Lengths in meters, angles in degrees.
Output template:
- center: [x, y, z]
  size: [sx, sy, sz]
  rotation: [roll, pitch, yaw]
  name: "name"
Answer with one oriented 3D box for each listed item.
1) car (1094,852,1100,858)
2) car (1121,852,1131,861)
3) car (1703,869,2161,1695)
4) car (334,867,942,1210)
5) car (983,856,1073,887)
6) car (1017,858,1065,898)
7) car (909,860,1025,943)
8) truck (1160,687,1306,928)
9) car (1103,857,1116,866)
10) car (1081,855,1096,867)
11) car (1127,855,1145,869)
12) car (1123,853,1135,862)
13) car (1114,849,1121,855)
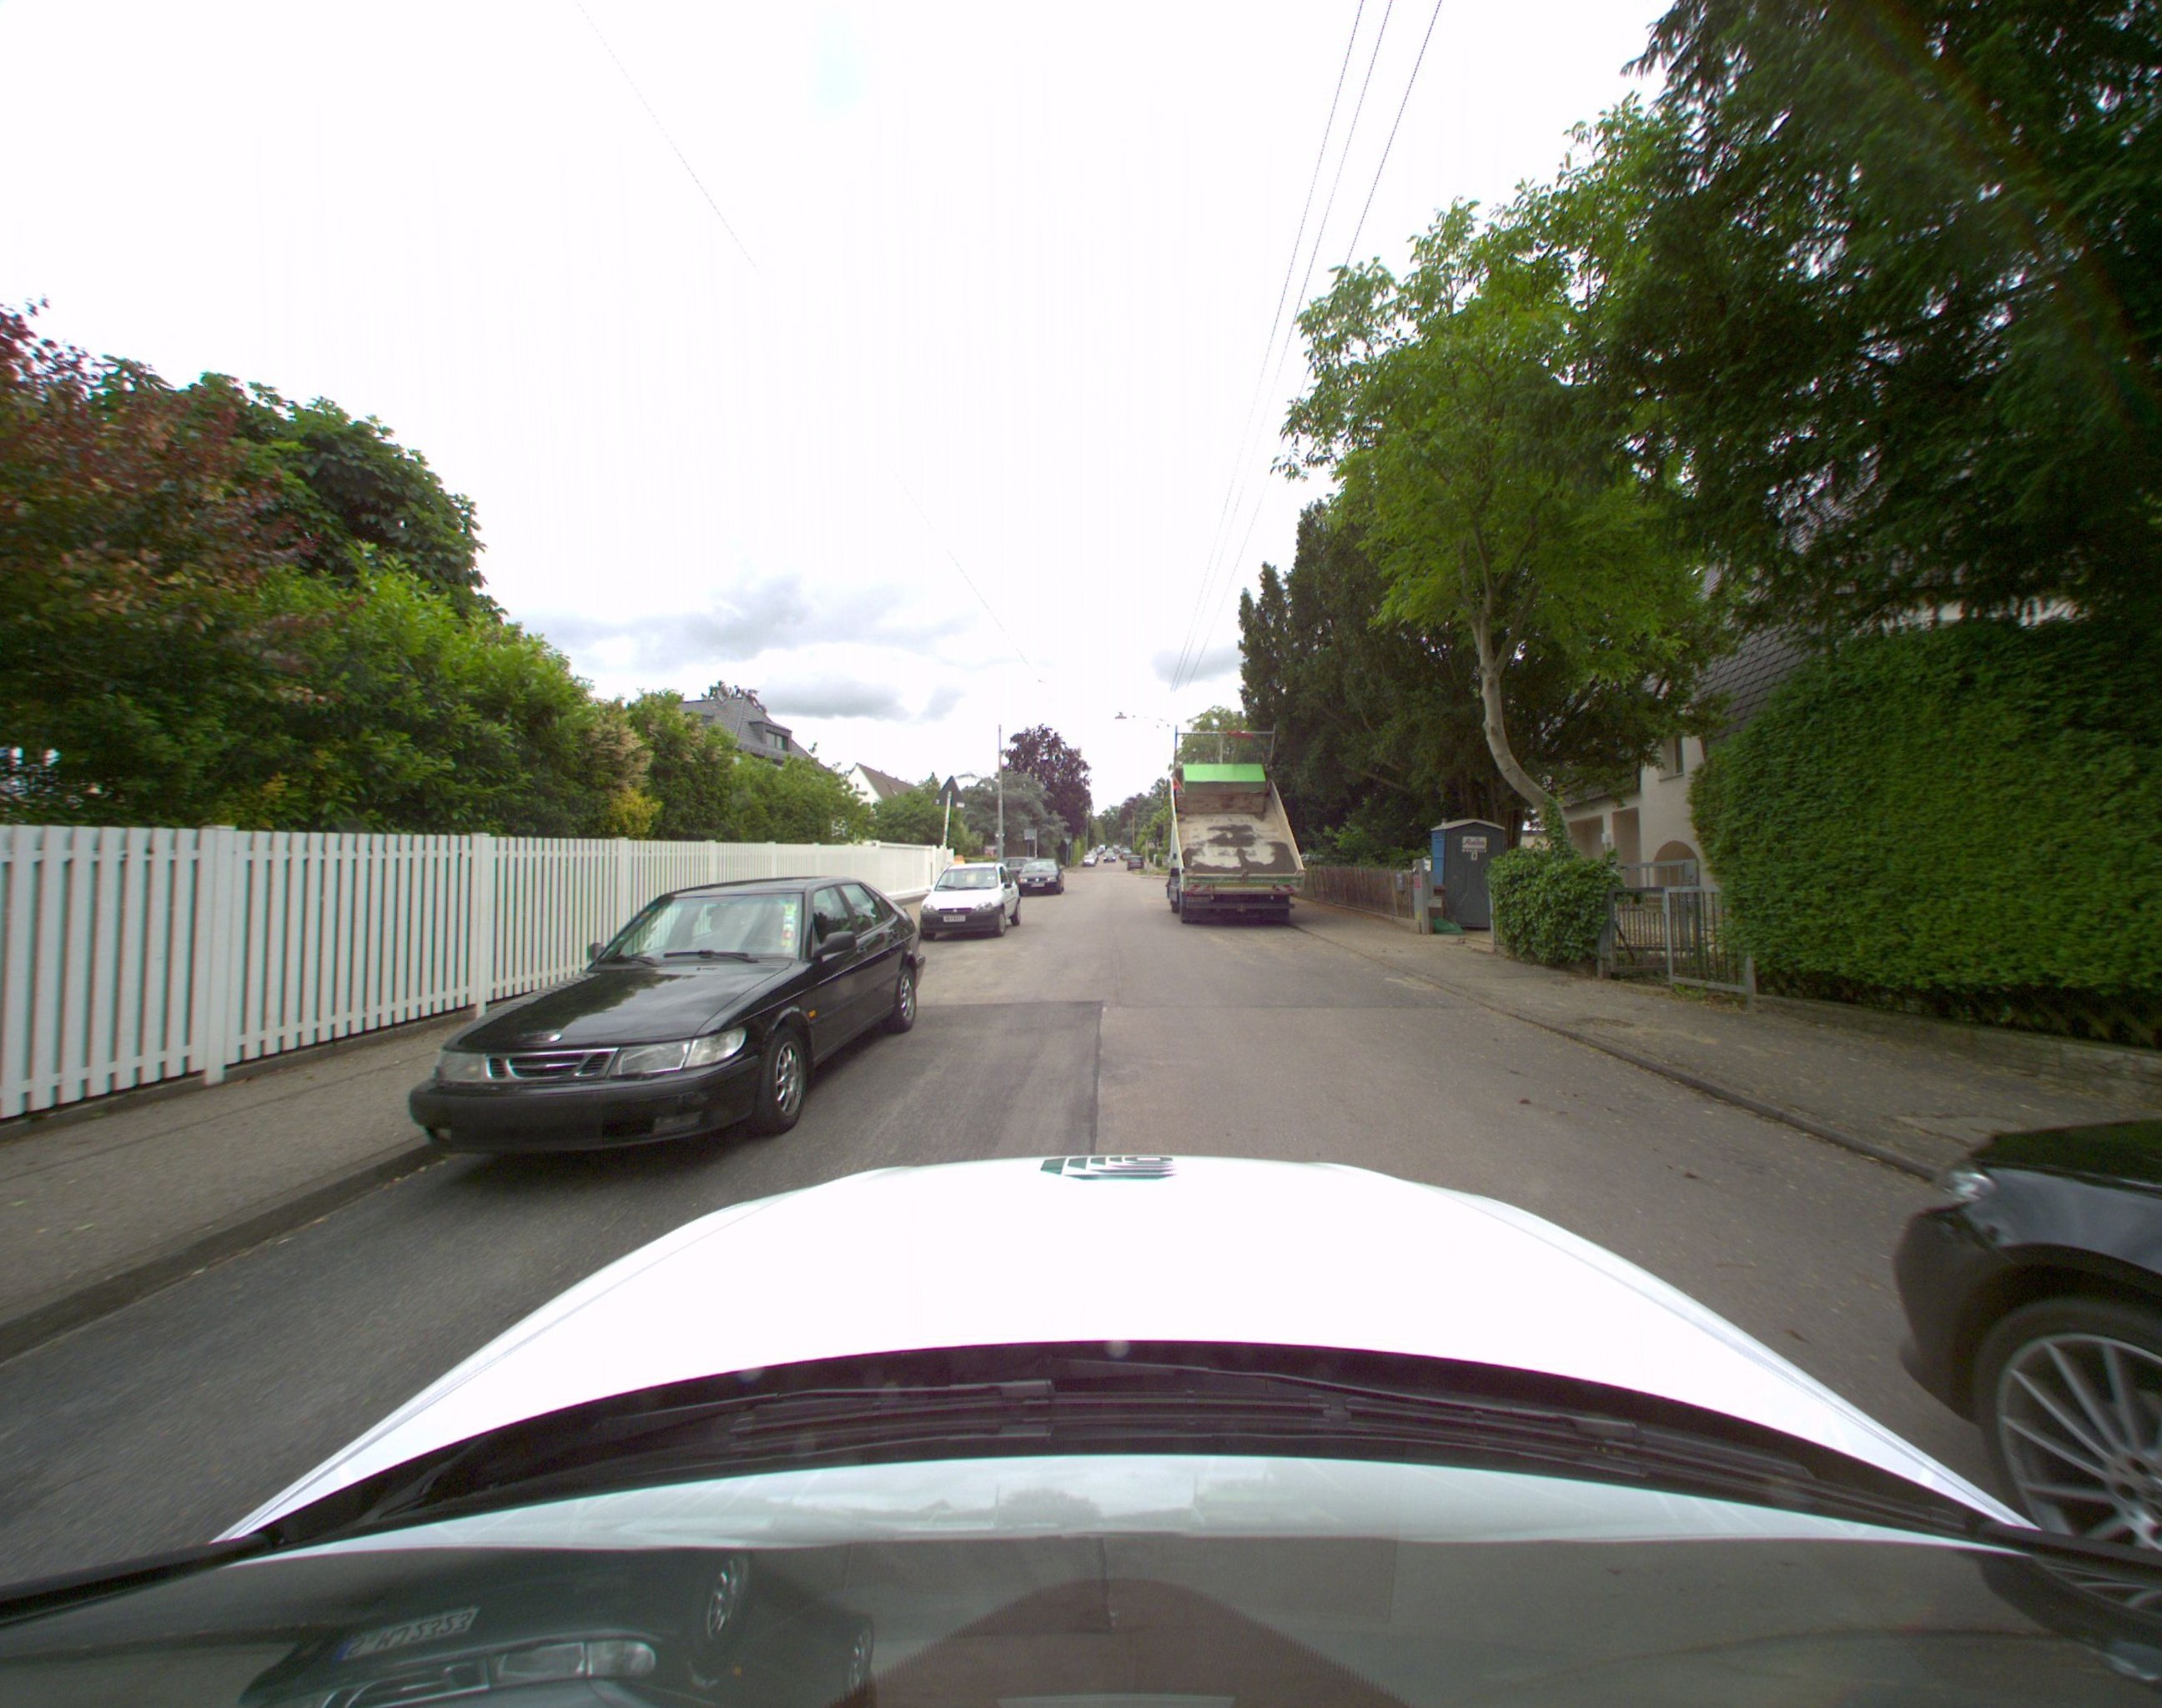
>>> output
- center: [3.887, 0.348, 197.837]
  size: [1.620, 1.386, 3.599]
  rotation: [1, 0, 1]
  name: "car"
- center: [7.833, 0.463, 141.747]
  size: [1.782, 1.529, 3.737]
  rotation: [0, 0, 3]
  name: "car"
- center: [2.655, 0.751, 0.173]
  size: [1.645, 1.424, 4.663]
  rotation: [0, 0, 2]
  name: "car"
- center: [-2.420, 0.880, 5.969]
  size: [1.633, 1.422, 4.554]
  rotation: [-3, 0, 4]
  name: "car"
- center: [-2.593, 0.861, 39.855]
  size: [3.955, 1.444, 1.835]
  rotation: [-1, 0, 18]
  name: "car"
- center: [-1.572, 0.918, 32.989]
  size: [1.631, 1.395, 3.989]
  rotation: [-3, 0, 1]
  name: "car"
- center: [-2.242, 0.884, 16.960]
  size: [1.589, 1.433, 4.003]
  rotation: [-3, 0, 3]
  name: "car"
- center: [3.357, -0.912, 19.721]
  size: [2.514, 4.748, 7.192]
  rotation: [0, 0, 3]
  name: "truck"
- center: [4.319, 1.150, 124.610]
  size: [1.719, 1.407, 3.810]
  rotation: [-1, 0, 6]
  name: "car"
- center: [0.974, 0.885, 109.446]
  size: [1.703, 1.586, 4.005]
  rotation: [0, 0, 5]
  name: "car"
- center: [6.050, 0.841, 89.307]
  size: [1.772, 1.489, 4.001]
  rotation: [-1, 0, 1]
  name: "car"
- center: [7.808, 0.585, 132.909]
  size: [1.804, 1.335, 3.633]
  rotation: [1, 1, 1]
  name: "car"
- center: [9.394, -0.543, 209.757]
  size: [1.628, 1.701, 3.495]
  rotation: [0, 0, 1]
  name: "car"
